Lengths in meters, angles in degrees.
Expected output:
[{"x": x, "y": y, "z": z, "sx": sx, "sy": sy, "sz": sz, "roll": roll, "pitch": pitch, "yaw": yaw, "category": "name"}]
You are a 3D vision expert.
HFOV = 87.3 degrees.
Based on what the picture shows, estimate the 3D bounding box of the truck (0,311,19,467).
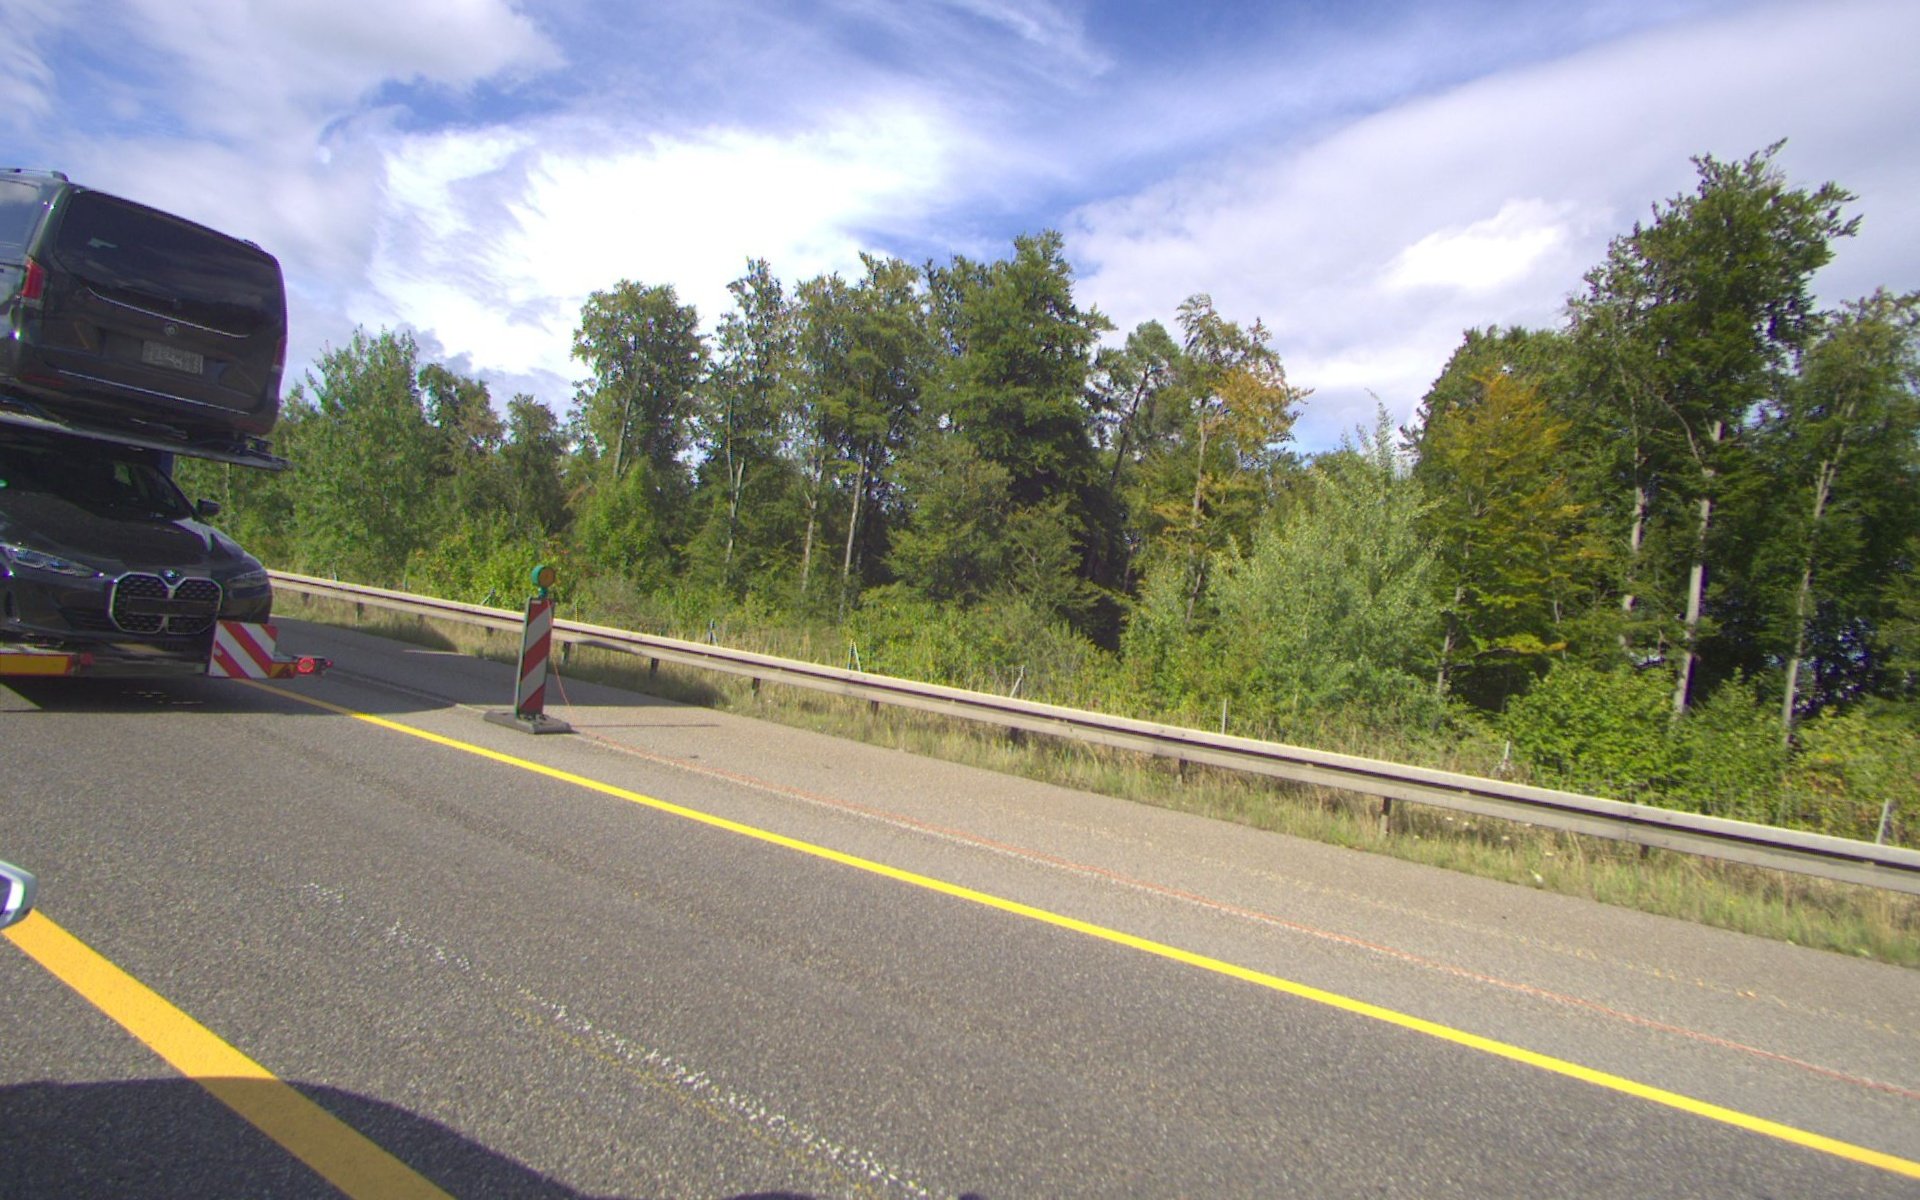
[{"x": -18.991, "y": -2.791, "z": 15.733, "sx": 7.815, "sy": 4.245, "sz": 3.770, "roll": 6, "pitch": -1, "yaw": 30, "category": "truck"}]

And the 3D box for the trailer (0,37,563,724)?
[{"x": -11.754, "y": -1.929, "z": 11.743, "sx": 15.951, "sy": 4.245, "sz": 3.734, "roll": 6, "pitch": -1, "yaw": 30, "category": "trailer"}]
